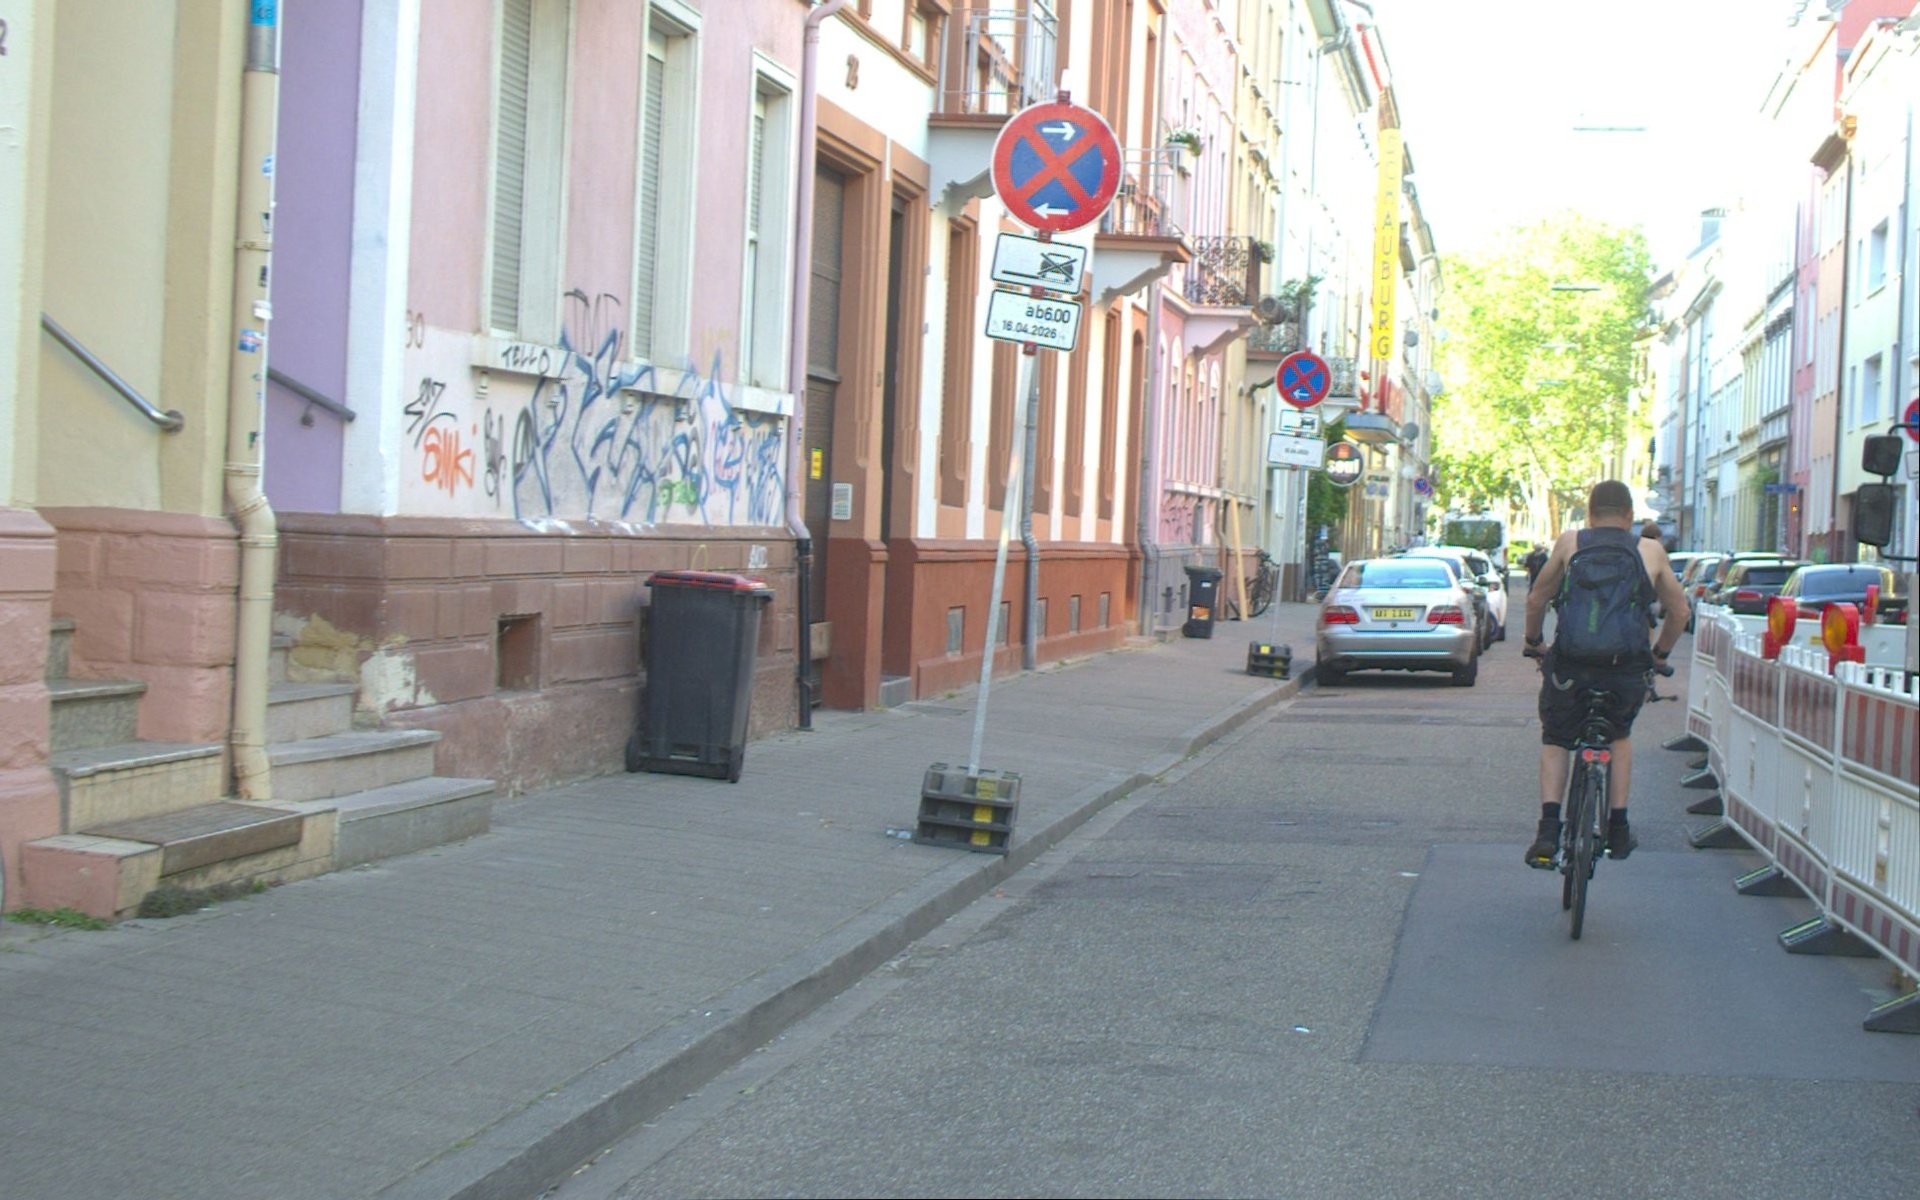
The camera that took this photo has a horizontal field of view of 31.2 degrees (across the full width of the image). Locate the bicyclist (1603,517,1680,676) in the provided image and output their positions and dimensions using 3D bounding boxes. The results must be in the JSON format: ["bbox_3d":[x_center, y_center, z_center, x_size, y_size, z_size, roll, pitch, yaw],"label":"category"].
[{"bbox_3d":[6.989,-0.048,35.297,0.702,1.599,0.812,1,2,9],"label":"bicyclist"}]

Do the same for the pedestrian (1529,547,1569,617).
[{"bbox_3d":[13.695,-0.418,79.989,0.771,1.573,0.900,4,1,7],"label":"pedestrian"}]

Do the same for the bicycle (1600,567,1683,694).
[{"bbox_3d":[6.988,0.294,35.335,0.702,1.203,2.341,1,2,9],"label":"bicycle"}]

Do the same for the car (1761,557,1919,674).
[{"bbox_3d":[11.508,0.178,44.605,1.817,1.433,4.789,0,0,9],"label":"car"}]

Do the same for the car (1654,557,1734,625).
[{"bbox_3d":[17.192,-0.225,80.676,1.621,1.545,3.998,0,0,9],"label":"car"}]

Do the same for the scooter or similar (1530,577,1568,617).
[{"bbox_3d":[13.622,-0.078,79.546,0.771,0.869,0.770,4,1,7],"label":"scooter or similar"}]

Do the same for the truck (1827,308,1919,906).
[{"bbox_3d":[5.884,0.046,16.322,2.662,2.804,7.390,4,1,9],"label":"truck"}]

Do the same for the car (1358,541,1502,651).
[{"bbox_3d":[6.738,-0.094,49.031,1.711,1.378,4.354,2,2,11],"label":"car"}]

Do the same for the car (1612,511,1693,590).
[{"bbox_3d":[22.657,-1.590,112.703,2.308,2.529,6.767,0,0,9],"label":"car"}]

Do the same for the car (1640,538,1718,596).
[{"bbox_3d":[17.907,-0.814,85.745,1.711,1.389,3.998,0,0,9],"label":"car"}]

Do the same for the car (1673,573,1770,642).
[{"bbox_3d":[15.680,0.145,70.962,1.711,1.378,3.998,0,0,9],"label":"car"}]

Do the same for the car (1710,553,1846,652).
[{"bbox_3d":[13.069,0.031,55.112,1.817,1.516,3.998,0,0,9],"label":"car"}]

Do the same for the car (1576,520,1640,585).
[{"bbox_3d":[25.964,-1.858,137.917,2.308,2.529,6.767,0,0,9],"label":"car"}]

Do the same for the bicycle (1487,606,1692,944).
[{"bbox_3d":[2.508,0.643,13.821,0.702,1.204,2.341,2,0,9],"label":"bicycle"}]

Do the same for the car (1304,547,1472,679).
[{"bbox_3d":[4.844,0.125,38.499,1.711,1.378,4.504,0,0,9],"label":"car"}]

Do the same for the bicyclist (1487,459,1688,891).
[{"bbox_3d":[2.486,0.282,13.688,0.702,1.627,1.089,2,0,9],"label":"bicyclist"}]

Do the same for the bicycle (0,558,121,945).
[{"bbox_3d":[-2.894,0.402,9.026,0.622,1.019,1.817,4,1,10],"label":"bicycle"}]

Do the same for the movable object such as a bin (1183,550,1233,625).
[{"bbox_3d":[3.223,-0.161,44.649,0.544,0.941,0.487,4,1,10],"label":"movable object such as a bin"}]

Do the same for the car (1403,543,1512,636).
[{"bbox_3d":[8.084,-0.169,55.629,1.672,1.437,4.164,0,0,9],"label":"car"}]

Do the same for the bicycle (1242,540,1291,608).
[{"bbox_3d":[5.123,-0.426,57.464,0.593,1.085,2.078,4,1,9],"label":"bicycle"}]

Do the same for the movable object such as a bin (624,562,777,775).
[{"bbox_3d":[-1.318,0.341,17.540,0.605,1.032,0.596,4,1,8],"label":"movable object such as a bin"}]

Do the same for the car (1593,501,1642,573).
[{"bbox_3d":[35.249,-3.370,184.438,2.308,3.755,6.767,0,0,9],"label":"car"}]

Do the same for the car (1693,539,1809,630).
[{"bbox_3d":[13.929,-0.277,60.686,1.711,1.551,3.998,0,0,9],"label":"car"}]

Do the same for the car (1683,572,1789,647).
[{"bbox_3d":[14.775,0.164,65.588,1.711,1.378,3.998,0,0,9],"label":"car"}]

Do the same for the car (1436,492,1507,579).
[{"bbox_3d":[15.228,-1.902,102.520,1.910,2.488,4.164,2,1,7],"label":"car"}]
